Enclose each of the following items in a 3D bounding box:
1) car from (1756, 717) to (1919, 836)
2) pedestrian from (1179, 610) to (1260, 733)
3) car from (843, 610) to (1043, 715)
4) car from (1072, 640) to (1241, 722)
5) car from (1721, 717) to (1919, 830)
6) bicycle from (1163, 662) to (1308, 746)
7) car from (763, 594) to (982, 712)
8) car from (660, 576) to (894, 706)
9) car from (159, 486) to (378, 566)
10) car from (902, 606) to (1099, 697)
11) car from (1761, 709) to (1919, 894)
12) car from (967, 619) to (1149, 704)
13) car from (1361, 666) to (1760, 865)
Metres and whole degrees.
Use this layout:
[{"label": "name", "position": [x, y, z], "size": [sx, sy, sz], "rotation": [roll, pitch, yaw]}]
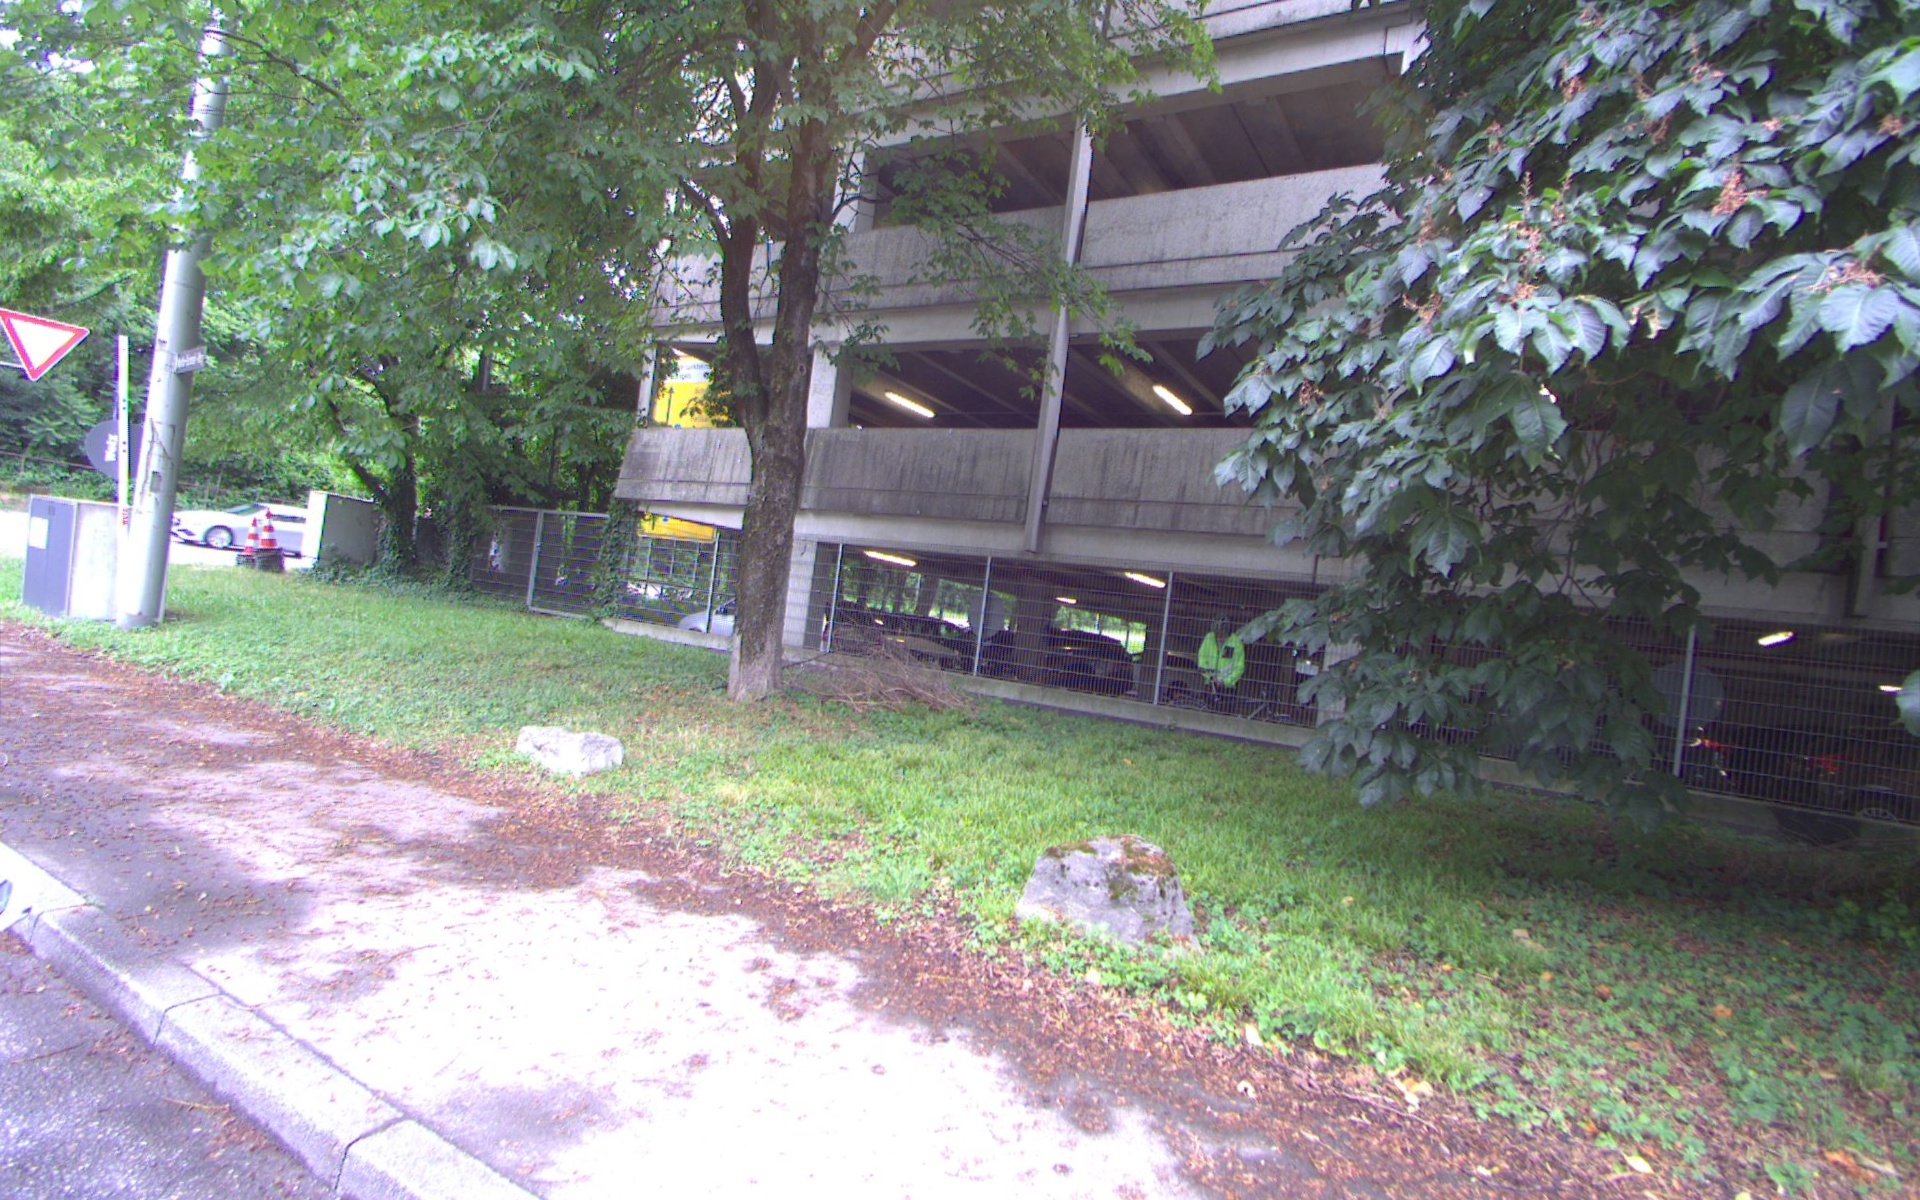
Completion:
[{"label": "car", "position": [15.608, 2.987, 16.522], "size": [3.640, 1.625, 1.721], "rotation": [5, -3, 30]}, {"label": "pedestrian", "position": [3.027, 0.840, 11.715], "size": [0.626, 1.332, 0.642], "rotation": [5, -3, 31]}, {"label": "car", "position": [-0.376, 1.281, 20.886], "size": [3.658, 1.682, 1.734], "rotation": [5, -3, 32]}, {"label": "car", "position": [6.135, 2.520, 31.559], "size": [4.658, 1.855, 1.923], "rotation": [6, -3, 33]}, {"label": "car", "position": [16.597, 3.239, 18.656], "size": [3.640, 1.625, 1.721], "rotation": [5, -3, 30]}, {"label": "bicycle", "position": [3.115, 1.164, 11.385], "size": [1.469, 0.744, 0.448], "rotation": [6, -3, 24]}, {"label": "car", "position": [-1.670, 0.973, 18.830], "size": [3.707, 1.727, 1.584], "rotation": [5, -3, 32]}, {"label": "car", "position": [-3.116, 0.658, 16.904], "size": [3.658, 1.727, 1.484], "rotation": [5, -3, 32]}, {"label": "car", "position": [-19.675, -2.059, 28.861], "size": [1.803, 1.349, 4.760], "rotation": [10, -1, 32]}, {"label": "car", "position": [0.921, 1.178, 23.223], "size": [3.934, 1.569, 1.998], "rotation": [5, -3, 32]}, {"label": "car", "position": [12.667, 2.652, 12.473], "size": [3.935, 2.036, 1.997], "rotation": [5, -3, 33]}, {"label": "car", "position": [2.437, 1.528, 25.160], "size": [3.934, 1.569, 1.998], "rotation": [5, -3, 32]}, {"label": "car", "position": [8.617, 2.288, 14.842], "size": [4.597, 2.036, 1.998], "rotation": [5, -3, 31]}]
